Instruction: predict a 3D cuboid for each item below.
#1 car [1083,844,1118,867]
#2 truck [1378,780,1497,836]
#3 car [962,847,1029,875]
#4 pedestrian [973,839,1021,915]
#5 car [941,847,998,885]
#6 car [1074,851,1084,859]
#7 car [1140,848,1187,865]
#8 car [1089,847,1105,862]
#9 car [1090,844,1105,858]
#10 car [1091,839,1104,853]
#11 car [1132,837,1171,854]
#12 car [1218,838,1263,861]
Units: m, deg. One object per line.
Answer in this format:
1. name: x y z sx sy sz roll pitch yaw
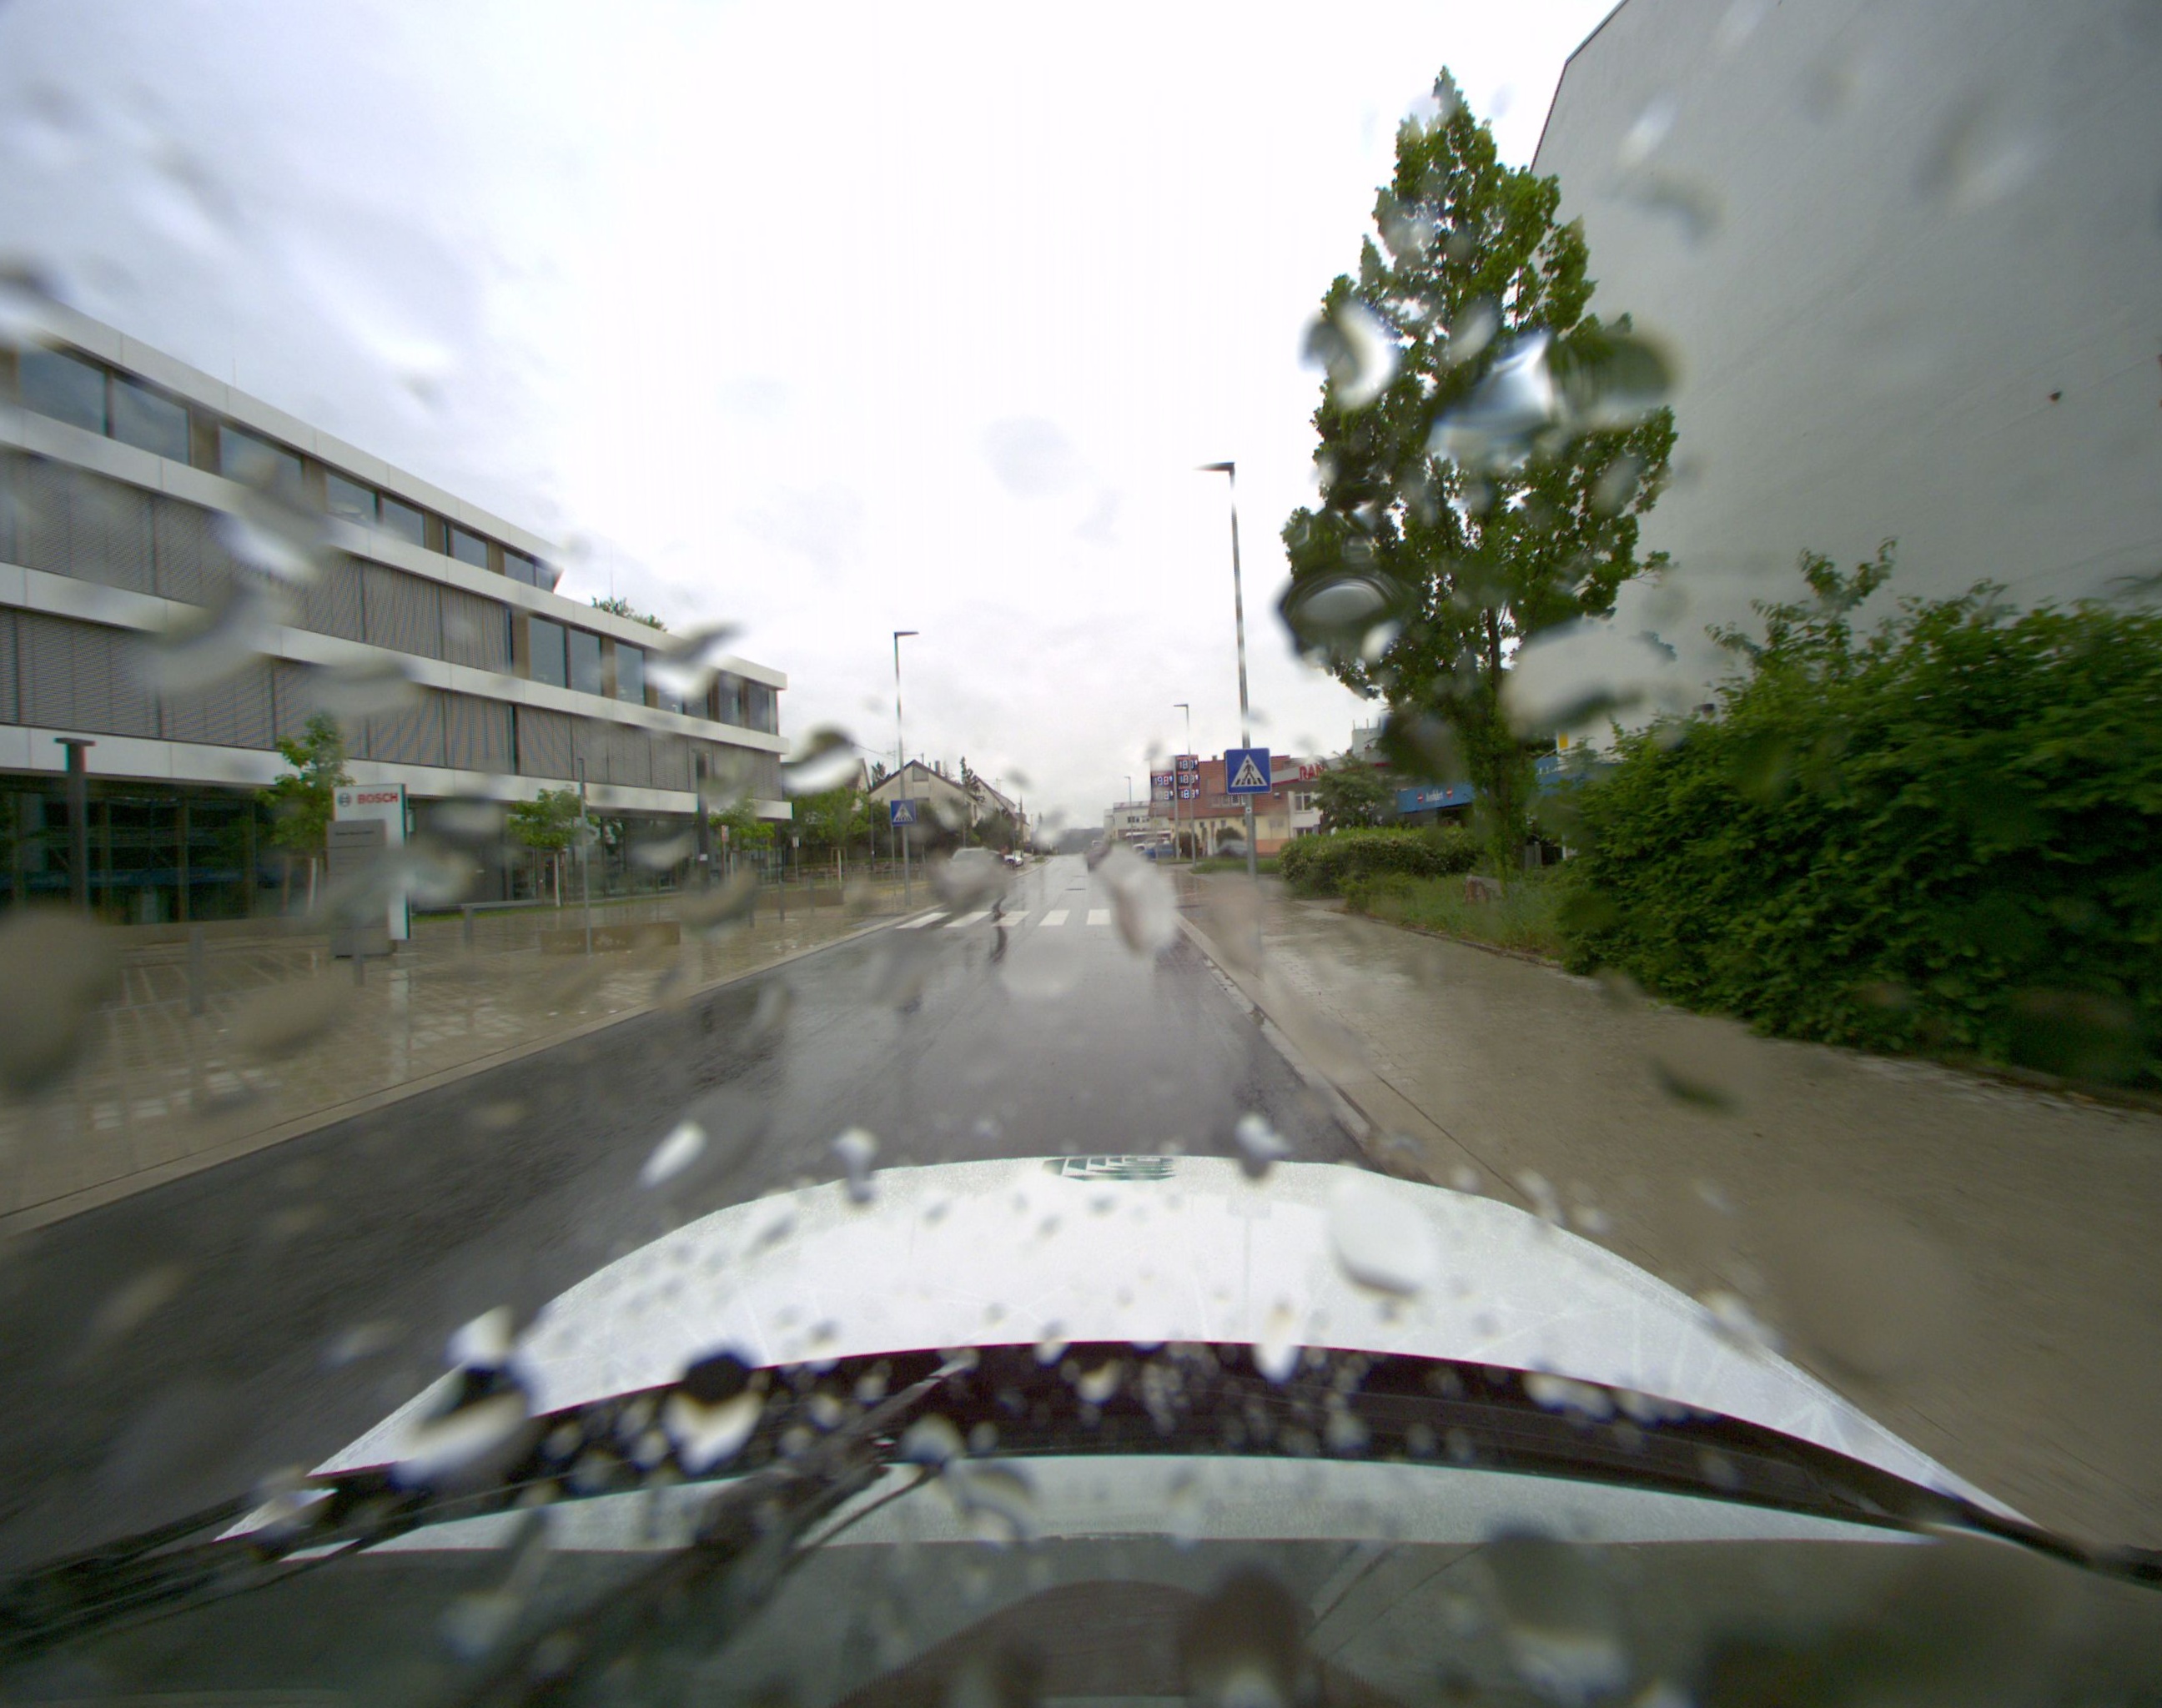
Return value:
1. car: 1.496 0.162 60.387 1.936 1.556 4.011 1 -2 11
2. truck: 25.088 -3.168 57.378 7.731 3.445 2.667 2 -2 -14
3. car: -6.400 0.538 61.242 4.738 2.014 1.999 1 -2 -1
4. pedestrian: -1.977 0.528 19.245 1.010 1.724 0.772 -2 0 -2
5. car: -5.223 0.534 38.691 1.986 1.629 4.154 -3 0 1
6. car: -0.406 0.208 171.442 2.146 1.706 4.000 1 -2 1
7. car: 7.576 0.251 74.992 3.954 1.493 1.866 1 -2 19
8. car: 2.029 0.074 104.071 1.986 1.706 4.000 1 -2 1
9. car: 2.371 -0.416 117.043 1.986 1.706 4.000 1 -2 1
10. car: 2.251 -1.025 110.834 1.776 1.706 4.000 1 -2 1
11. car: 7.618 -0.952 88.212 4.101 1.706 1.787 1 -2 -2
12. car: 11.728 -0.307 60.189 1.994 1.552 3.985 2 -2 -10
